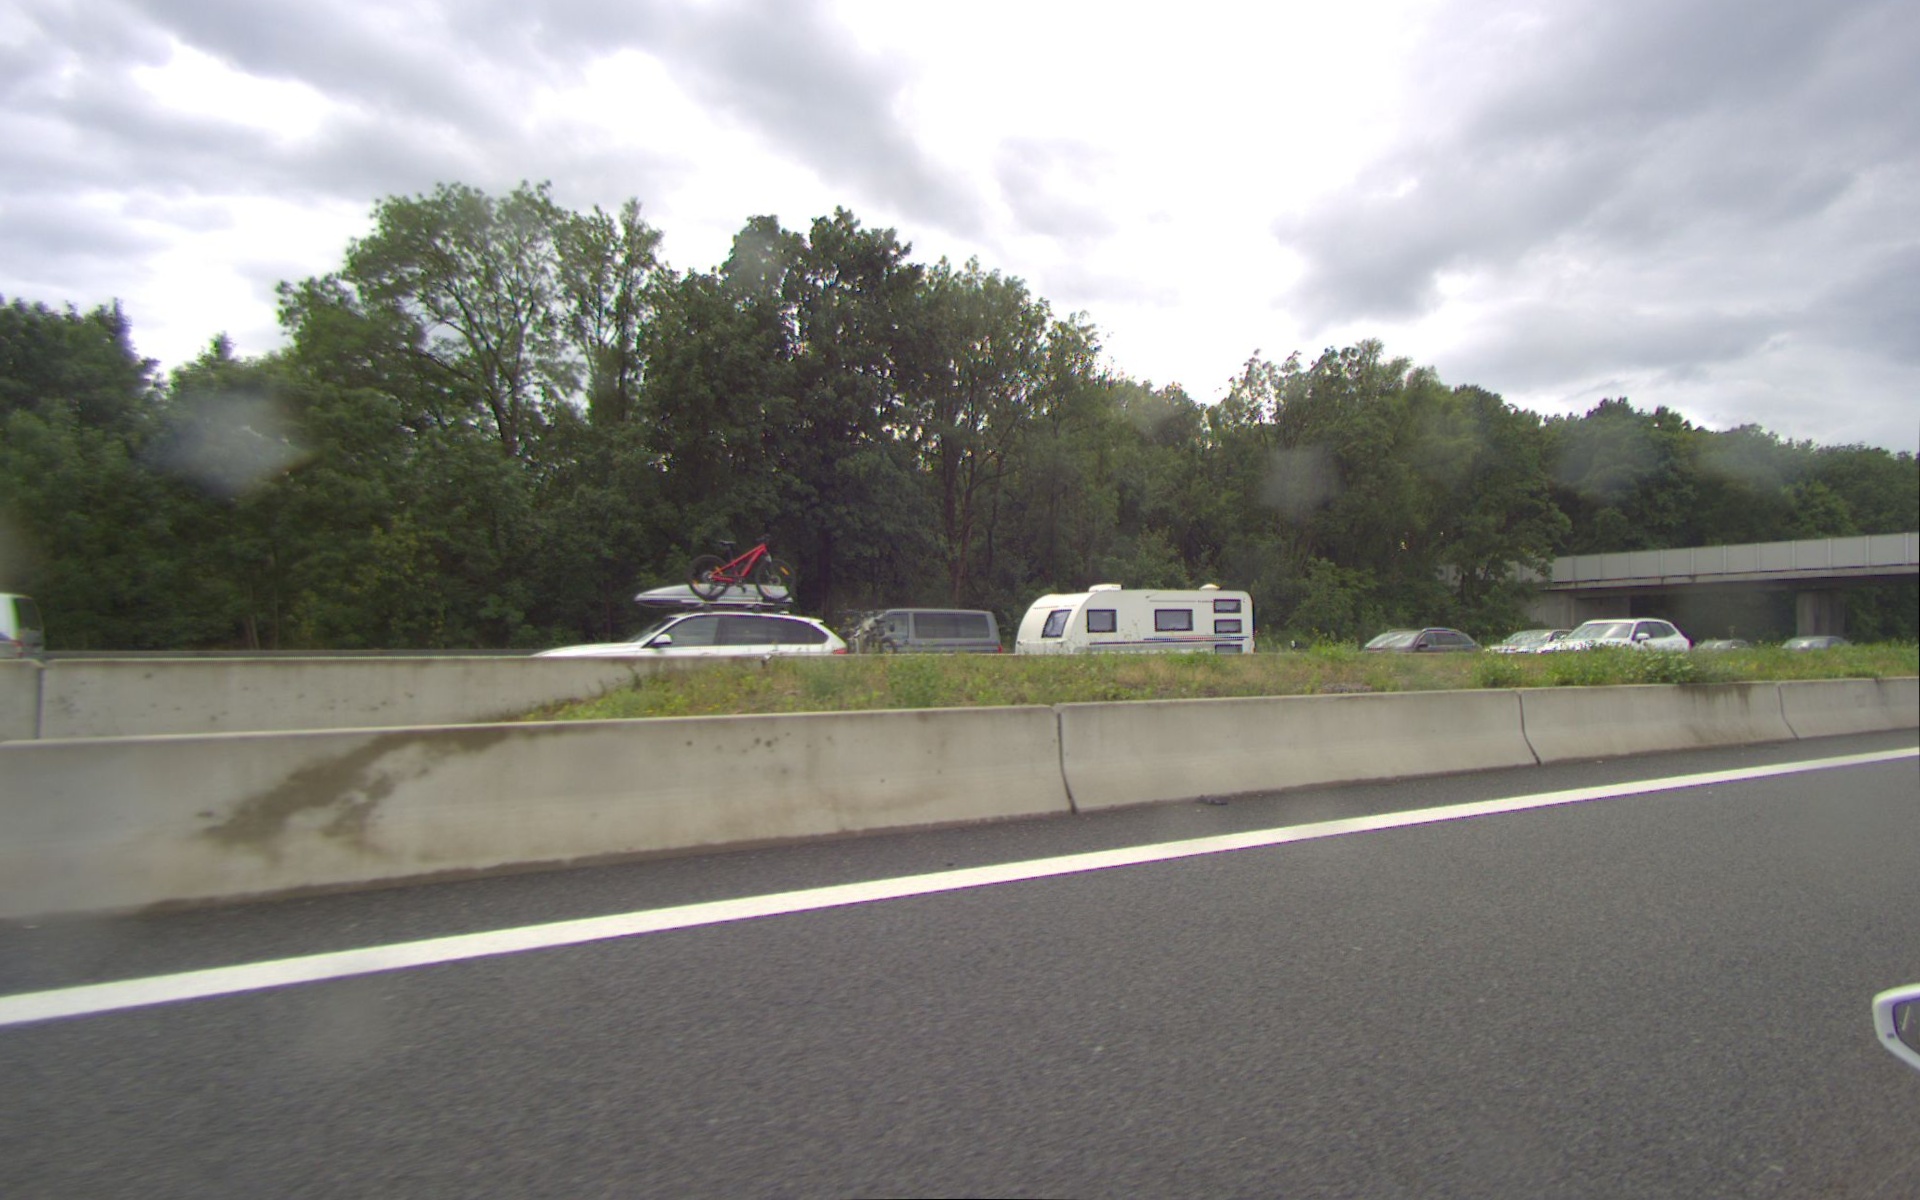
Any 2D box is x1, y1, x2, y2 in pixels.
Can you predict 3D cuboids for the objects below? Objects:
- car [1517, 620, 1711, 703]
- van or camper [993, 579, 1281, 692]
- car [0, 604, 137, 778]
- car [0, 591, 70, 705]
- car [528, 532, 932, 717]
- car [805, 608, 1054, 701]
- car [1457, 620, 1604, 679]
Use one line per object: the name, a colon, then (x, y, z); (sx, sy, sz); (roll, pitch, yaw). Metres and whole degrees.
car: (16.474, 1.483, 25.230); (5.164, 1.874, 1.984); (1, 0, -30)
van or camper: (4.980, 0.939, 27.555); (8.029, 2.743, 2.593); (1, 0, -30)
car: (-13.853, 1.089, 12.266); (5.582, 2.109, 1.984); (1, 0, -30)
car: (-18.939, 0.792, 17.208); (5.164, 1.978, 1.984); (1, 0, -30)
car: (-3.169, 0.348, 14.234); (5.227, 2.210, 1.984); (1, 0, -30)
car: (-0.699, 1.244, 24.240); (5.442, 1.978, 2.593); (1, -1, -30)
car: (20.733, 1.754, 36.487); (4.772, 1.978, 2.593); (1, -1, -30)
